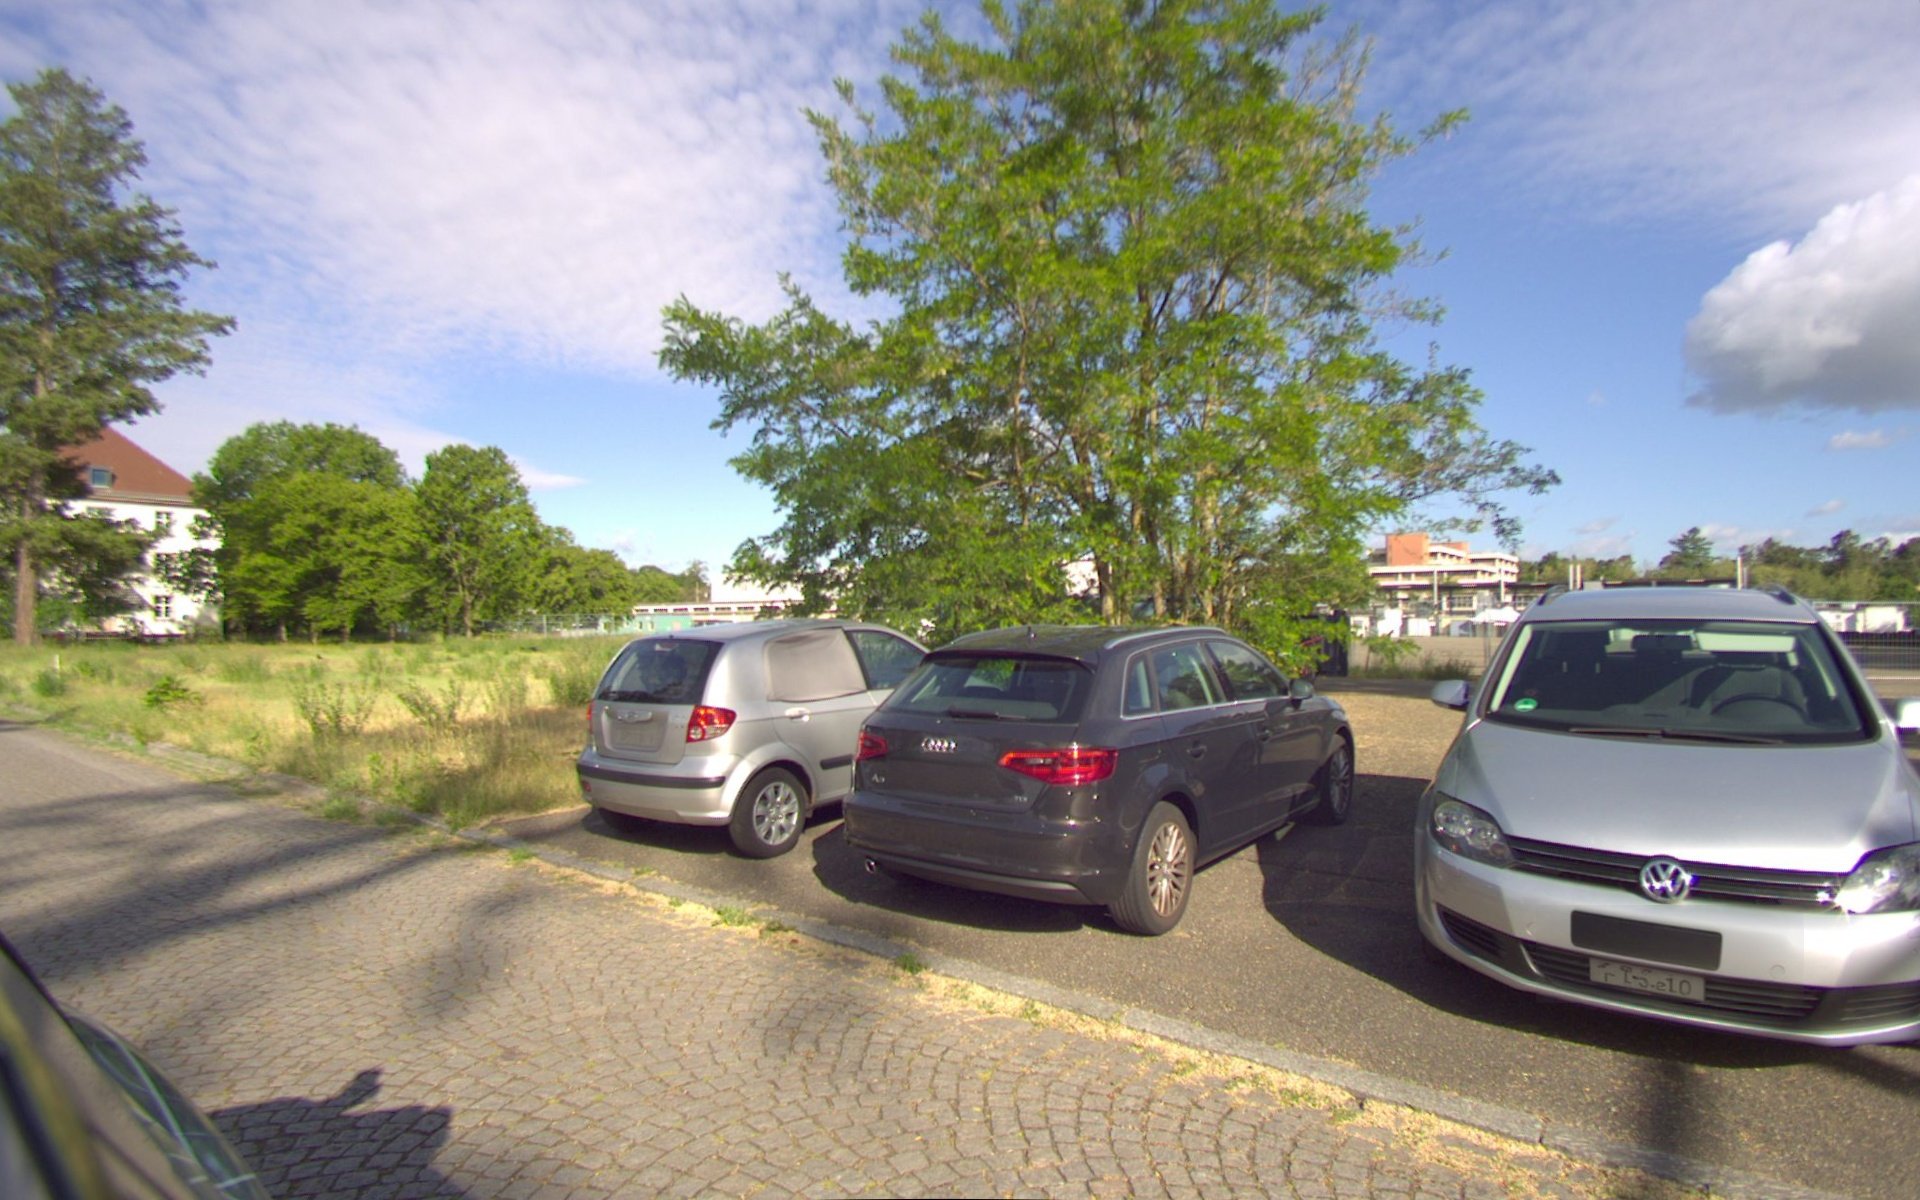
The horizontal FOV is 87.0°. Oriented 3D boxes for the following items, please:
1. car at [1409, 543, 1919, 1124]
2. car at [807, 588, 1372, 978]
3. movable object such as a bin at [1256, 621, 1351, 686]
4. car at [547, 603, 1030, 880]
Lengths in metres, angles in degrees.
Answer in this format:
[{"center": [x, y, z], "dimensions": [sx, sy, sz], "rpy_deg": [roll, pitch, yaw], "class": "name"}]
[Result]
[{"center": [3.421, 0.613, 4.719], "dimensions": [1.718, 1.638, 3.911], "rpy_deg": [-1, 1, 34], "class": "car"}, {"center": [1.051, 0.736, 6.088], "dimensions": [1.685, 1.482, 3.761], "rpy_deg": [-1, 1, 38], "class": "car"}, {"center": [6.346, 0.954, 18.611], "dimensions": [0.996, 1.116, 2.257], "rpy_deg": [-1, -2, 37], "class": "movable object such as a bin"}, {"center": [-1.094, 0.833, 7.708], "dimensions": [1.633, 1.482, 3.434], "rpy_deg": [-1, 1, 36], "class": "car"}]
